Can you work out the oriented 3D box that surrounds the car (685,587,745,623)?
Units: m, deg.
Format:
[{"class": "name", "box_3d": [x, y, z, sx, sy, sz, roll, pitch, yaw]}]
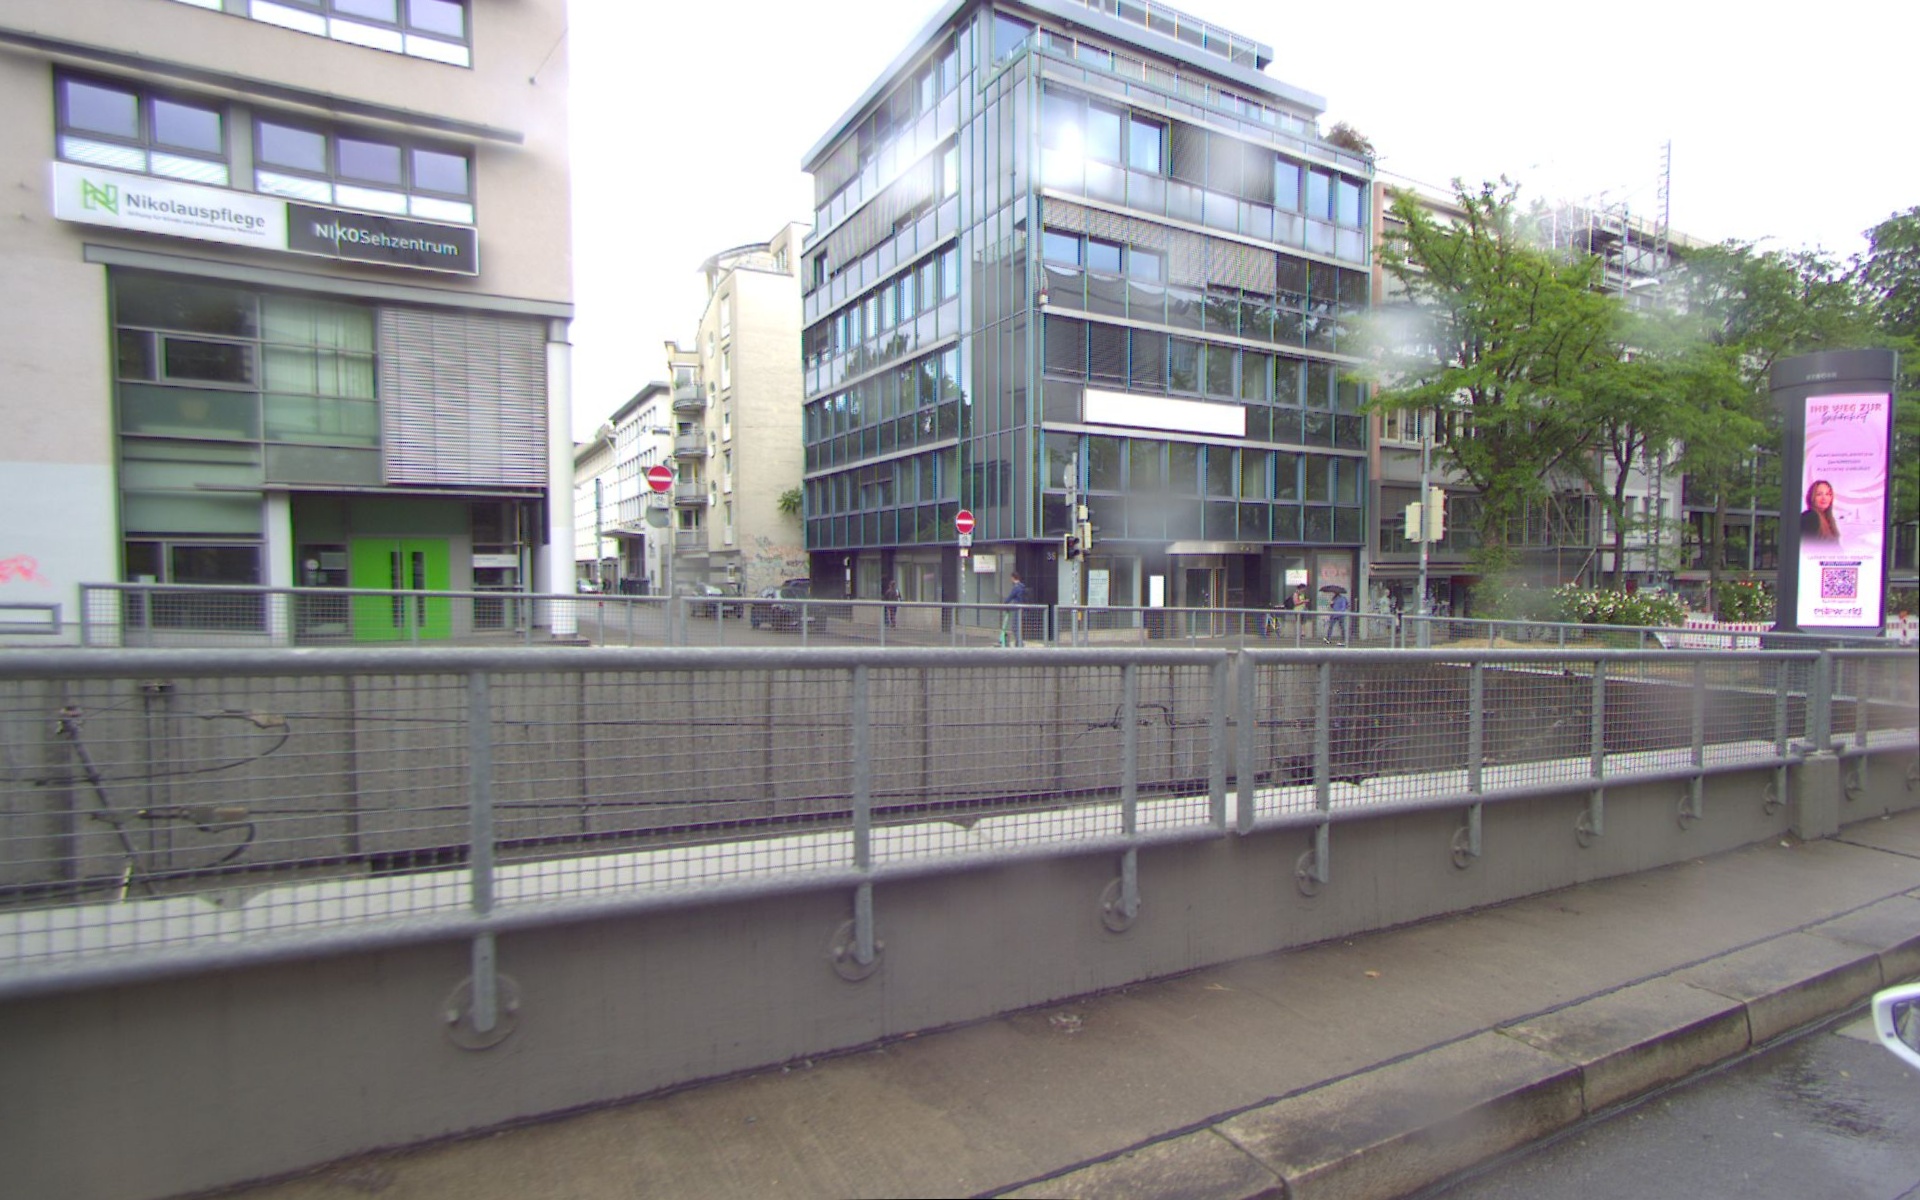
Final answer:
[{"class": "car", "box_3d": [-10.799, 0.191, 44.159, 1.672, 1.445, 3.868, 1, 0, -28]}]

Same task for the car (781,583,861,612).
[{"class": "car", "box_3d": [-7.433, -0.125, 53.618, 3.846, 1.445, 1.799, 1, 0, -27]}]

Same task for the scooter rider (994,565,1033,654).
[{"class": "scooter rider", "box_3d": [1.213, 0.215, 22.952, 0.806, 1.974, 0.811, 2, 2, 2]}]

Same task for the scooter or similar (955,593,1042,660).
[{"class": "scooter or similar", "box_3d": [0.880, 0.589, 22.970, 1.916, 1.438, 0.548, 2, 1, 4]}]

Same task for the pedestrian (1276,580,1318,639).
[{"class": "pedestrian", "box_3d": [11.133, 0.305, 33.210, 0.943, 1.893, 0.865, 1, 2, -11]}]

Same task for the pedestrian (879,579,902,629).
[{"class": "pedestrian", "box_3d": [-2.384, 0.126, 34.373, 0.482, 1.694, 0.661, 1, 1, -30]}]

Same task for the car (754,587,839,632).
[{"class": "car", "box_3d": [-5.802, 0.308, 35.287, 1.788, 1.445, 3.868, 1, 0, -28]}]

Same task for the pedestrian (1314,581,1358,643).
[{"class": "pedestrian", "box_3d": [11.796, 0.368, 31.511, 0.857, 1.893, 0.872, 1, 2, -30]}]
